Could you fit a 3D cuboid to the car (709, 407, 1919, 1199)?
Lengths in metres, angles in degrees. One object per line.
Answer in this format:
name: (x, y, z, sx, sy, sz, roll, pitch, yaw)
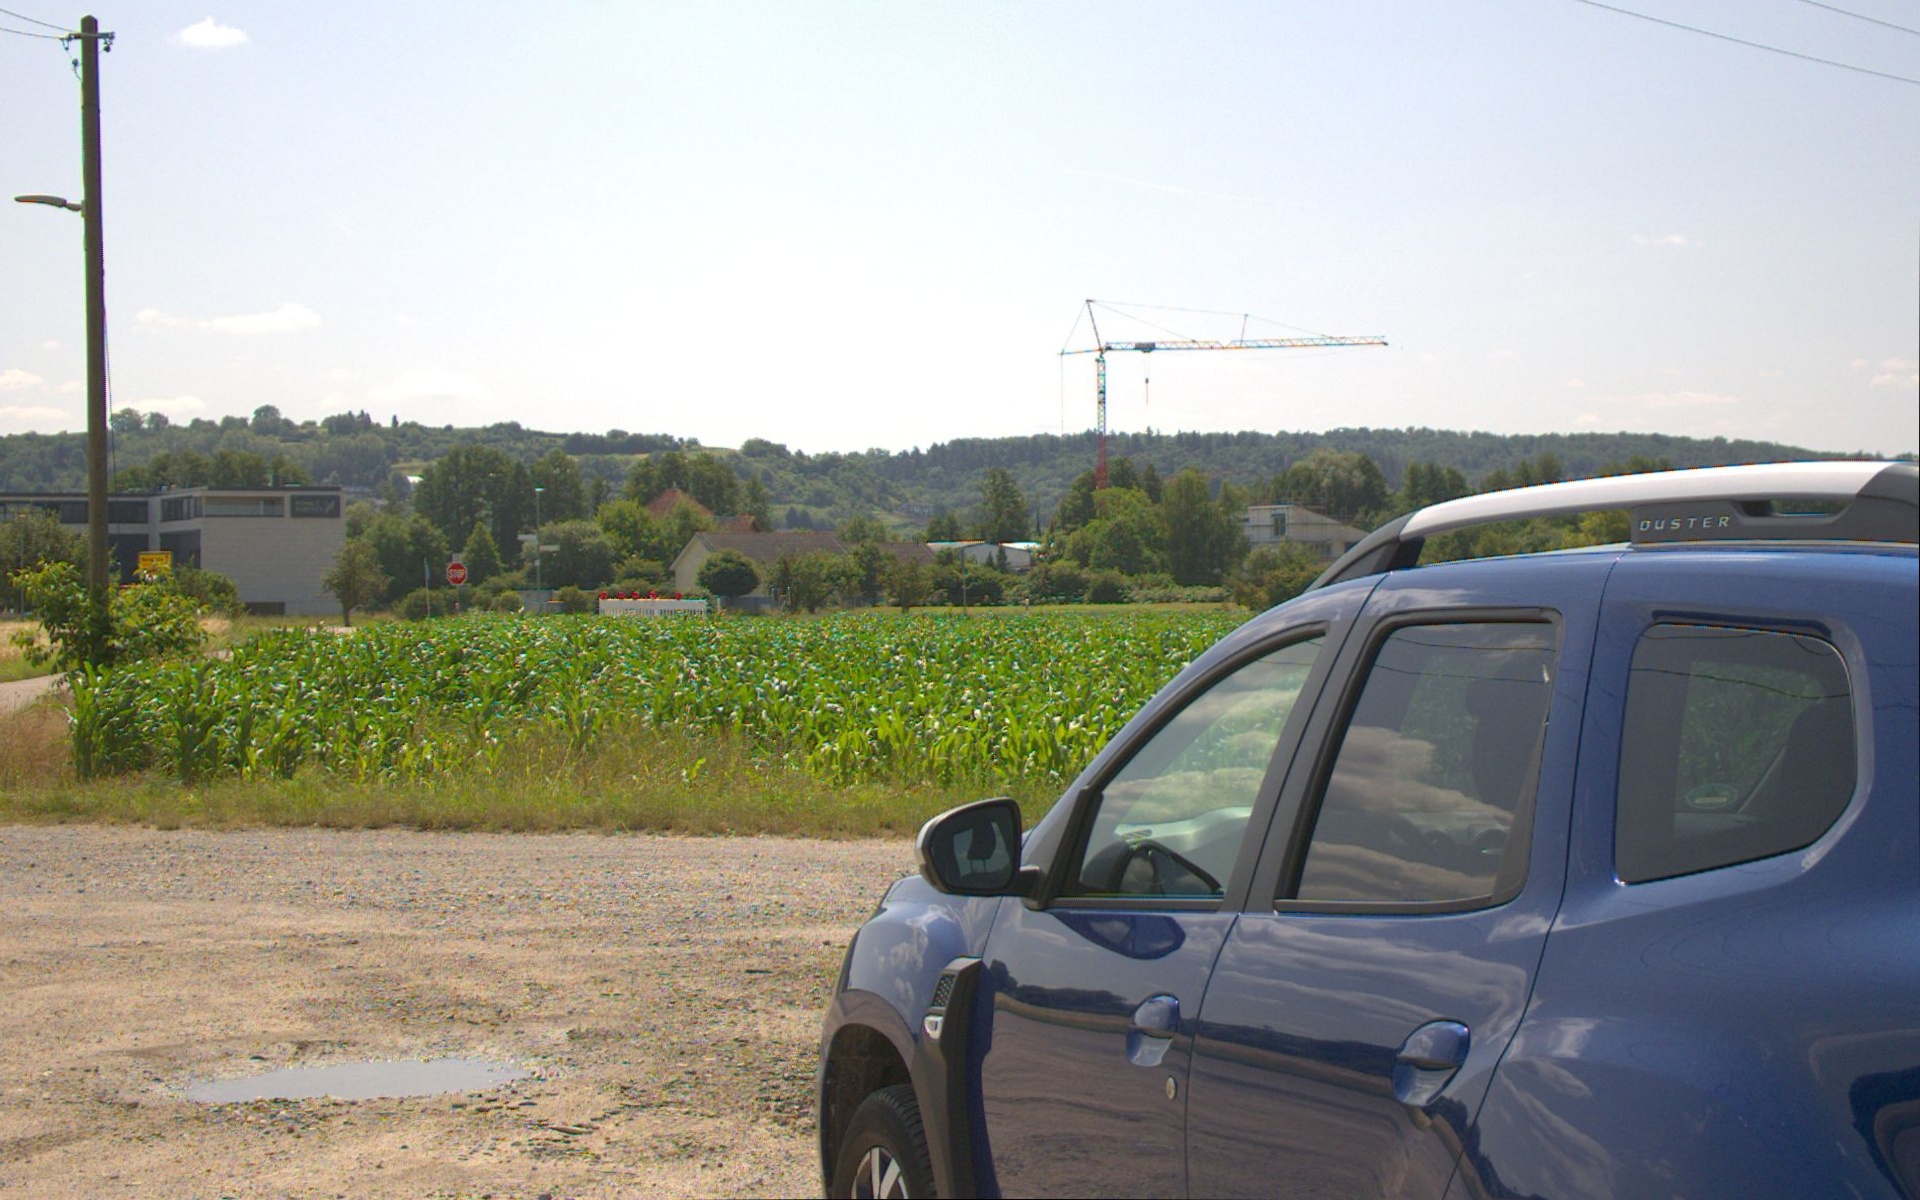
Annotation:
car: (1.062, 0.695, 5.169, 1.858, 1.655, 4.459, 1, -1, -18)
